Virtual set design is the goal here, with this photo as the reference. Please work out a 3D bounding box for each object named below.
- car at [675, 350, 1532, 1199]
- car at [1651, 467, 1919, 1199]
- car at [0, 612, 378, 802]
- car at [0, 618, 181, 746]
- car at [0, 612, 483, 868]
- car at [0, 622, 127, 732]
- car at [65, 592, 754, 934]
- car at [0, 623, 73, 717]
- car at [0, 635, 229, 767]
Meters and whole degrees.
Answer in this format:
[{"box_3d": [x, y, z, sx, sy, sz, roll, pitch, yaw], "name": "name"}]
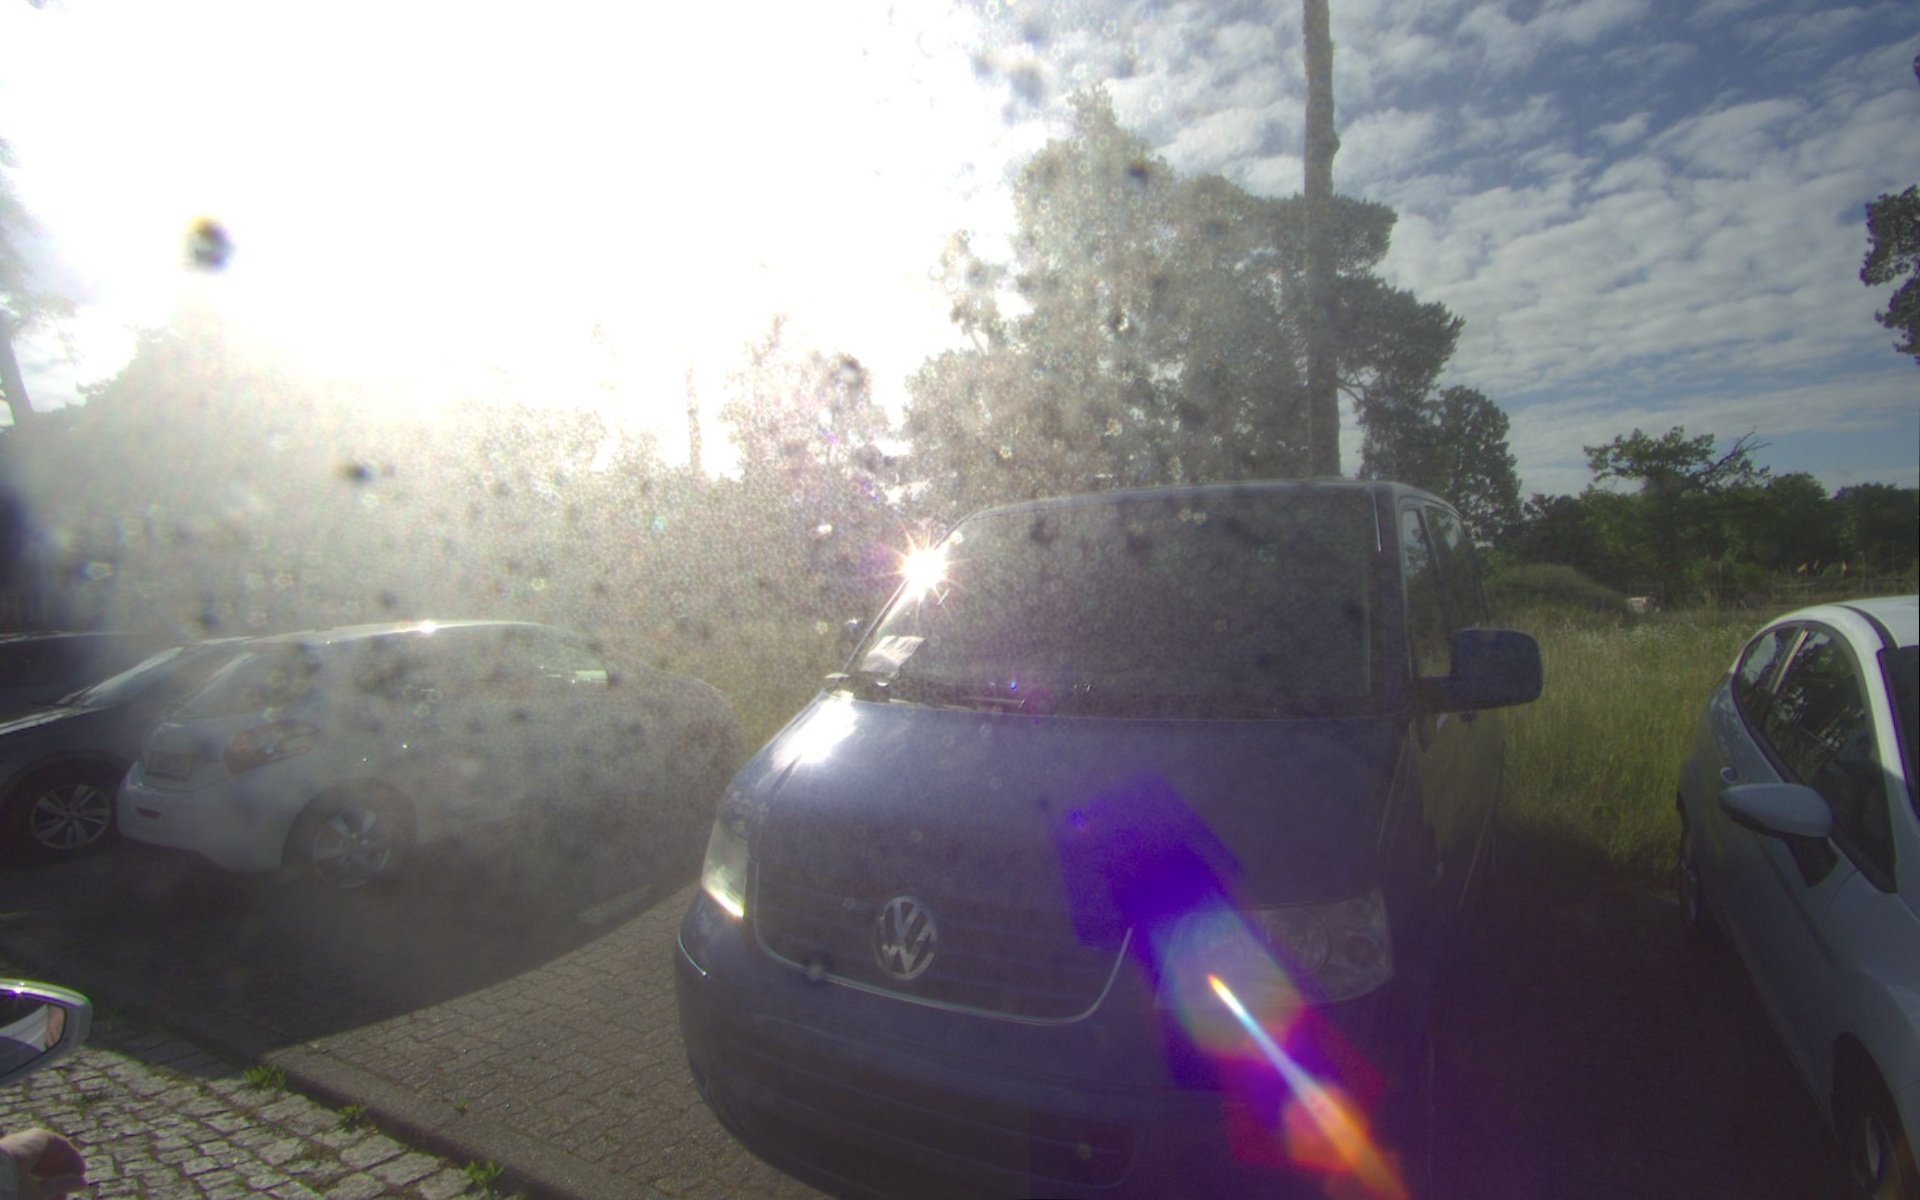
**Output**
[{"box_3d": [1.273, 0.500, 4.311, 1.971, 1.961, 4.688, -1, 1, 31], "name": "car"}, {"box_3d": [3.468, 0.501, 3.066, 1.911, 1.598, 4.388, -1, 1, 31], "name": "car"}, {"box_3d": [-8.147, 0.933, 9.913, 1.790, 1.469, 3.699, -1, 1, 31], "name": "car"}, {"box_3d": [-12.432, 1.055, 12.349, 1.613, 1.469, 4.118, -1, 2, 32], "name": "car"}, {"box_3d": [-6.054, 0.907, 7.911, 1.829, 1.469, 3.698, -1, 1, 32], "name": "car"}, {"box_3d": [-14.221, 1.114, 13.356, 1.755, 1.434, 4.421, -1, 1, 32], "name": "car"}, {"box_3d": [-3.354, 0.781, 6.814, 1.736, 1.555, 3.698, -1, 2, 32], "name": "car"}, {"box_3d": [-16.428, 1.165, 14.877, 1.613, 1.434, 4.549, -1, 1, 32], "name": "car"}, {"box_3d": [-10.521, 1.111, 10.937, 1.721, 1.240, 3.698, -1, 1, 32], "name": "car"}]
